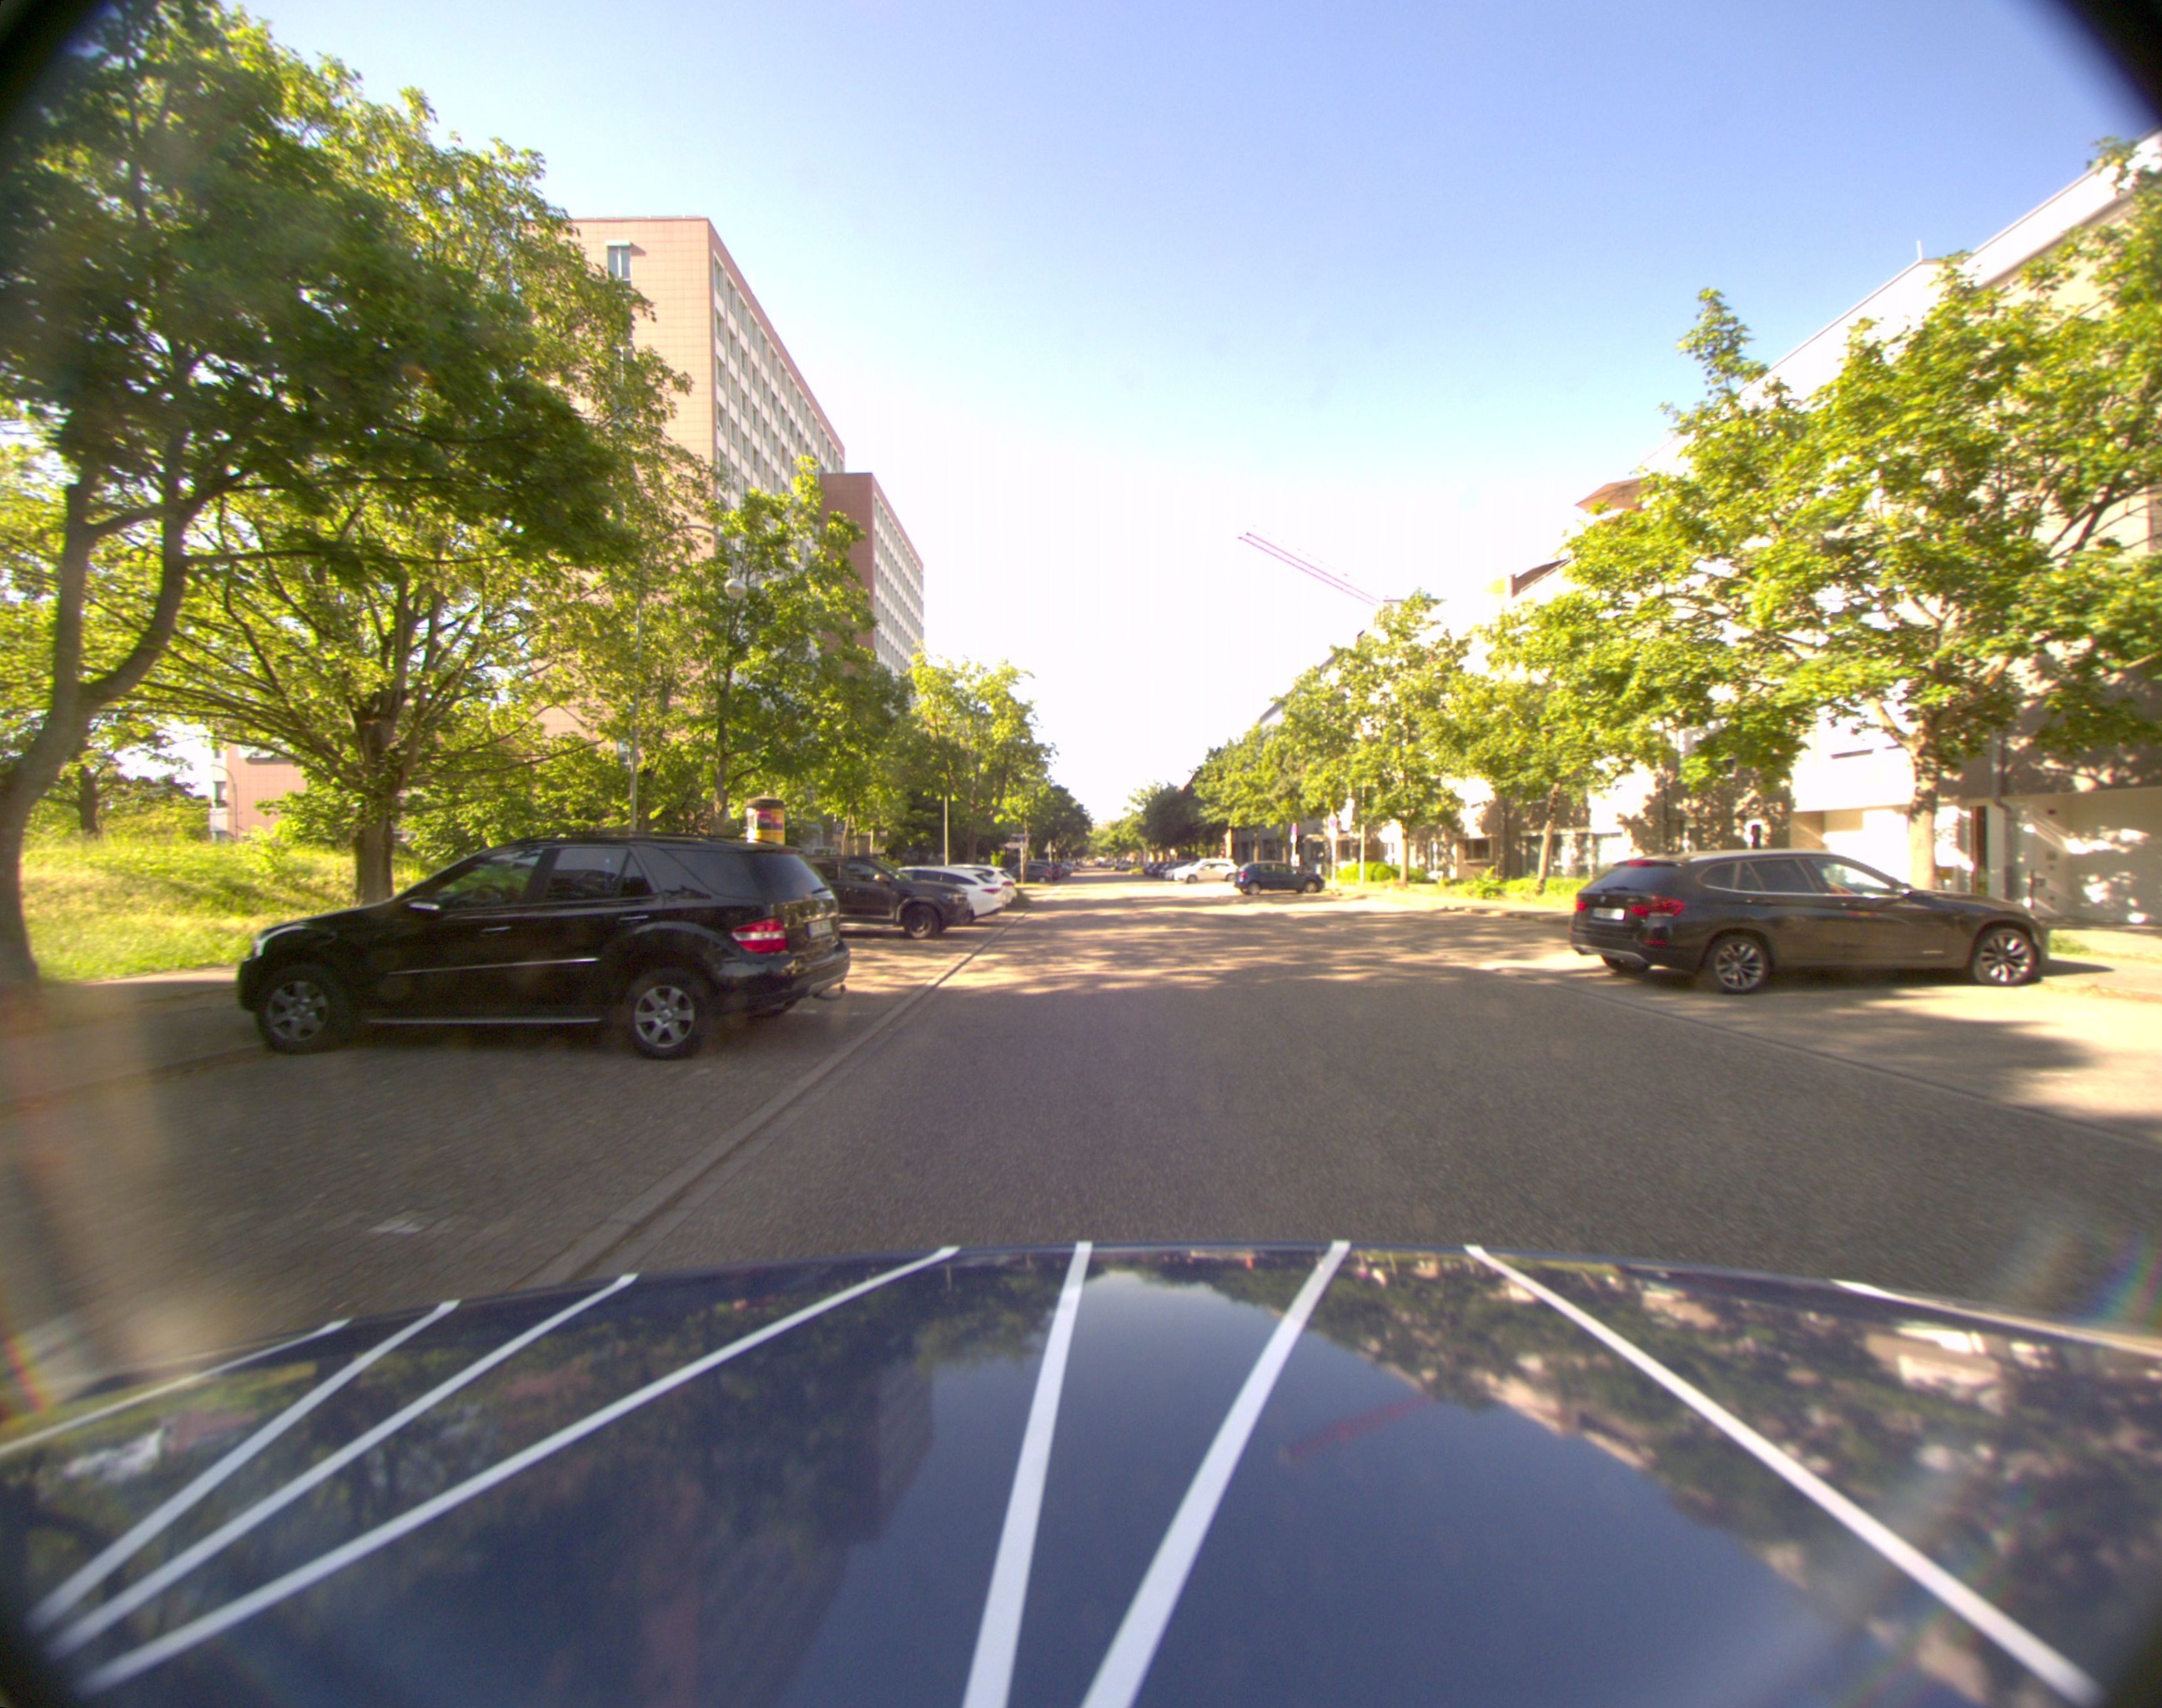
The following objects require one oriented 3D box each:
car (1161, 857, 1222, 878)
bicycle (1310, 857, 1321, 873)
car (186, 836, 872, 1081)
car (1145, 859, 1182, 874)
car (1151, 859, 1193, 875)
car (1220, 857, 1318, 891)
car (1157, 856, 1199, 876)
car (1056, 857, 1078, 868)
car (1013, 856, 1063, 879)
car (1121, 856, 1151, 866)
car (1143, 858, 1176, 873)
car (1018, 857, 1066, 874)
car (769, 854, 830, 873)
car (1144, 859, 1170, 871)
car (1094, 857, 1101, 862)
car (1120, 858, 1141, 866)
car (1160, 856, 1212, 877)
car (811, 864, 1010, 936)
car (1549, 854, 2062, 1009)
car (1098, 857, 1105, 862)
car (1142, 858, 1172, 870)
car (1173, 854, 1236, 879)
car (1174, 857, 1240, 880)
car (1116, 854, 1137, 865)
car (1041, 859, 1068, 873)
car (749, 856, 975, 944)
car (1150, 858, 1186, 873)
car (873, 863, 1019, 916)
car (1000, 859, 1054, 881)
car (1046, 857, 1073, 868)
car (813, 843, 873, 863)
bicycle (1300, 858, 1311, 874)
[{"bbox_3d":[8.778,1.080,60.571,4.521,1.443,1.941,-2,0,-4],"label":"car"},{"bbox_3d":[17.529,0.822,56.899,0.338,1.168,1.627,-2,0,1],"label":"bicycle"},{"bbox_3d":[-4.437,0.781,6.701,4.598,1.768,2.000,1,0,1],"label":"car"},{"bbox_3d":[8.480,1.264,78.190,3.539,1.428,1.657,-2,0,-1],"label":"car"},{"bbox_3d":[8.986,1.275,75.250,3.832,1.405,1.688,-2,-1,-1],"label":"car"},{"bbox_3d":[8.642,0.913,35.157,3.998,1.403,1.817,-2,0,-3],"label":"car"},{"bbox_3d":[8.679,1.069,68.130,3.580,1.658,1.655,-2,0,3],"label":"car"},{"bbox_3d":[-2.595,1.554,139.470,3.998,1.773,1.952,-2,0,-4],"label":"car"},{"bbox_3d":[-3.274,1.043,58.820,3.680,1.741,1.725,0,0,3],"label":"car"},{"bbox_3d":[9.700,1.255,134.352,5.252,1.615,1.953,-2,0,2],"label":"car"},{"bbox_3d":[8.826,1.292,85.498,3.539,1.497,1.646,-2,0,-1],"label":"car"},{"bbox_3d":[-3.652,1.097,71.220,4.431,1.544,1.859,0,0,-1],"label":"car"},{"bbox_3d":[-22.469,0.740,60.790,4.237,1.498,1.723,0,0,-5],"label":"car"},{"bbox_3d":[9.008,1.287,90.047,2.933,1.435,1.389,-1,0,0],"label":"car"},{"bbox_3d":[4.602,1.519,214.329,1.951,1.617,4.001,0,0,3],"label":"car"},{"bbox_3d":[9.554,1.582,146.460,3.967,1.463,1.953,-2,0,2],"label":"car"},{"bbox_3d":[8.773,1.006,63.570,4.122,1.611,1.803,-2,0,2],"label":"car"},{"bbox_3d":[-4.083,1.096,18.723,4.454,1.536,1.817,-2,0,-1],"label":"car"},{"bbox_3d":[8.088,0.812,8.812,4.202,1.511,1.772,-2,0,1],"label":"car"},{"bbox_3d":[5.579,1.551,203.037,1.766,1.365,4.001,0,0,4],"label":"car"},{"bbox_3d":[10.004,1.271,100.096,3.630,1.499,1.618,-2,0,-1],"label":"car"},{"bbox_3d":[9.008,0.907,55.613,4.235,1.593,1.953,-2,1,1],"label":"car"},{"bbox_3d":[8.685,0.971,52.513,4.269,1.471,1.800,-1,0,0],"label":"car"},{"bbox_3d":[9.162,1.127,153.744,3.997,2.094,2.000,-2,0,-1],"label":"car"},{"bbox_3d":[-3.181,1.448,90.958,3.053,1.595,1.605,1,0,3],"label":"car"},{"bbox_3d":[-4.354,0.898,15.566,4.129,1.609,1.733,1,1,-1],"label":"car"},{"bbox_3d":[9.255,1.201,80.878,3.539,1.437,1.657,-2,0,-3],"label":"car"},{"bbox_3d":[-4.318,1.133,24.880,4.439,1.583,1.836,1,0,-2],"label":"car"},{"bbox_3d":[-3.971,1.220,56.447,3.845,1.438,1.592,2,-2,-2],"label":"car"},{"bbox_3d":[-3.376,1.345,120.490,4.164,1.696,2.000,-2,0,-2],"label":"car"},{"bbox_3d":[-21.221,-0.072,67.822,4.729,1.676,1.875,-1,0,-3],"label":"car"},{"bbox_3d":[16.704,0.885,56.489,0.338,1.168,1.627,-2,0,1],"label":"bicycle"}]
